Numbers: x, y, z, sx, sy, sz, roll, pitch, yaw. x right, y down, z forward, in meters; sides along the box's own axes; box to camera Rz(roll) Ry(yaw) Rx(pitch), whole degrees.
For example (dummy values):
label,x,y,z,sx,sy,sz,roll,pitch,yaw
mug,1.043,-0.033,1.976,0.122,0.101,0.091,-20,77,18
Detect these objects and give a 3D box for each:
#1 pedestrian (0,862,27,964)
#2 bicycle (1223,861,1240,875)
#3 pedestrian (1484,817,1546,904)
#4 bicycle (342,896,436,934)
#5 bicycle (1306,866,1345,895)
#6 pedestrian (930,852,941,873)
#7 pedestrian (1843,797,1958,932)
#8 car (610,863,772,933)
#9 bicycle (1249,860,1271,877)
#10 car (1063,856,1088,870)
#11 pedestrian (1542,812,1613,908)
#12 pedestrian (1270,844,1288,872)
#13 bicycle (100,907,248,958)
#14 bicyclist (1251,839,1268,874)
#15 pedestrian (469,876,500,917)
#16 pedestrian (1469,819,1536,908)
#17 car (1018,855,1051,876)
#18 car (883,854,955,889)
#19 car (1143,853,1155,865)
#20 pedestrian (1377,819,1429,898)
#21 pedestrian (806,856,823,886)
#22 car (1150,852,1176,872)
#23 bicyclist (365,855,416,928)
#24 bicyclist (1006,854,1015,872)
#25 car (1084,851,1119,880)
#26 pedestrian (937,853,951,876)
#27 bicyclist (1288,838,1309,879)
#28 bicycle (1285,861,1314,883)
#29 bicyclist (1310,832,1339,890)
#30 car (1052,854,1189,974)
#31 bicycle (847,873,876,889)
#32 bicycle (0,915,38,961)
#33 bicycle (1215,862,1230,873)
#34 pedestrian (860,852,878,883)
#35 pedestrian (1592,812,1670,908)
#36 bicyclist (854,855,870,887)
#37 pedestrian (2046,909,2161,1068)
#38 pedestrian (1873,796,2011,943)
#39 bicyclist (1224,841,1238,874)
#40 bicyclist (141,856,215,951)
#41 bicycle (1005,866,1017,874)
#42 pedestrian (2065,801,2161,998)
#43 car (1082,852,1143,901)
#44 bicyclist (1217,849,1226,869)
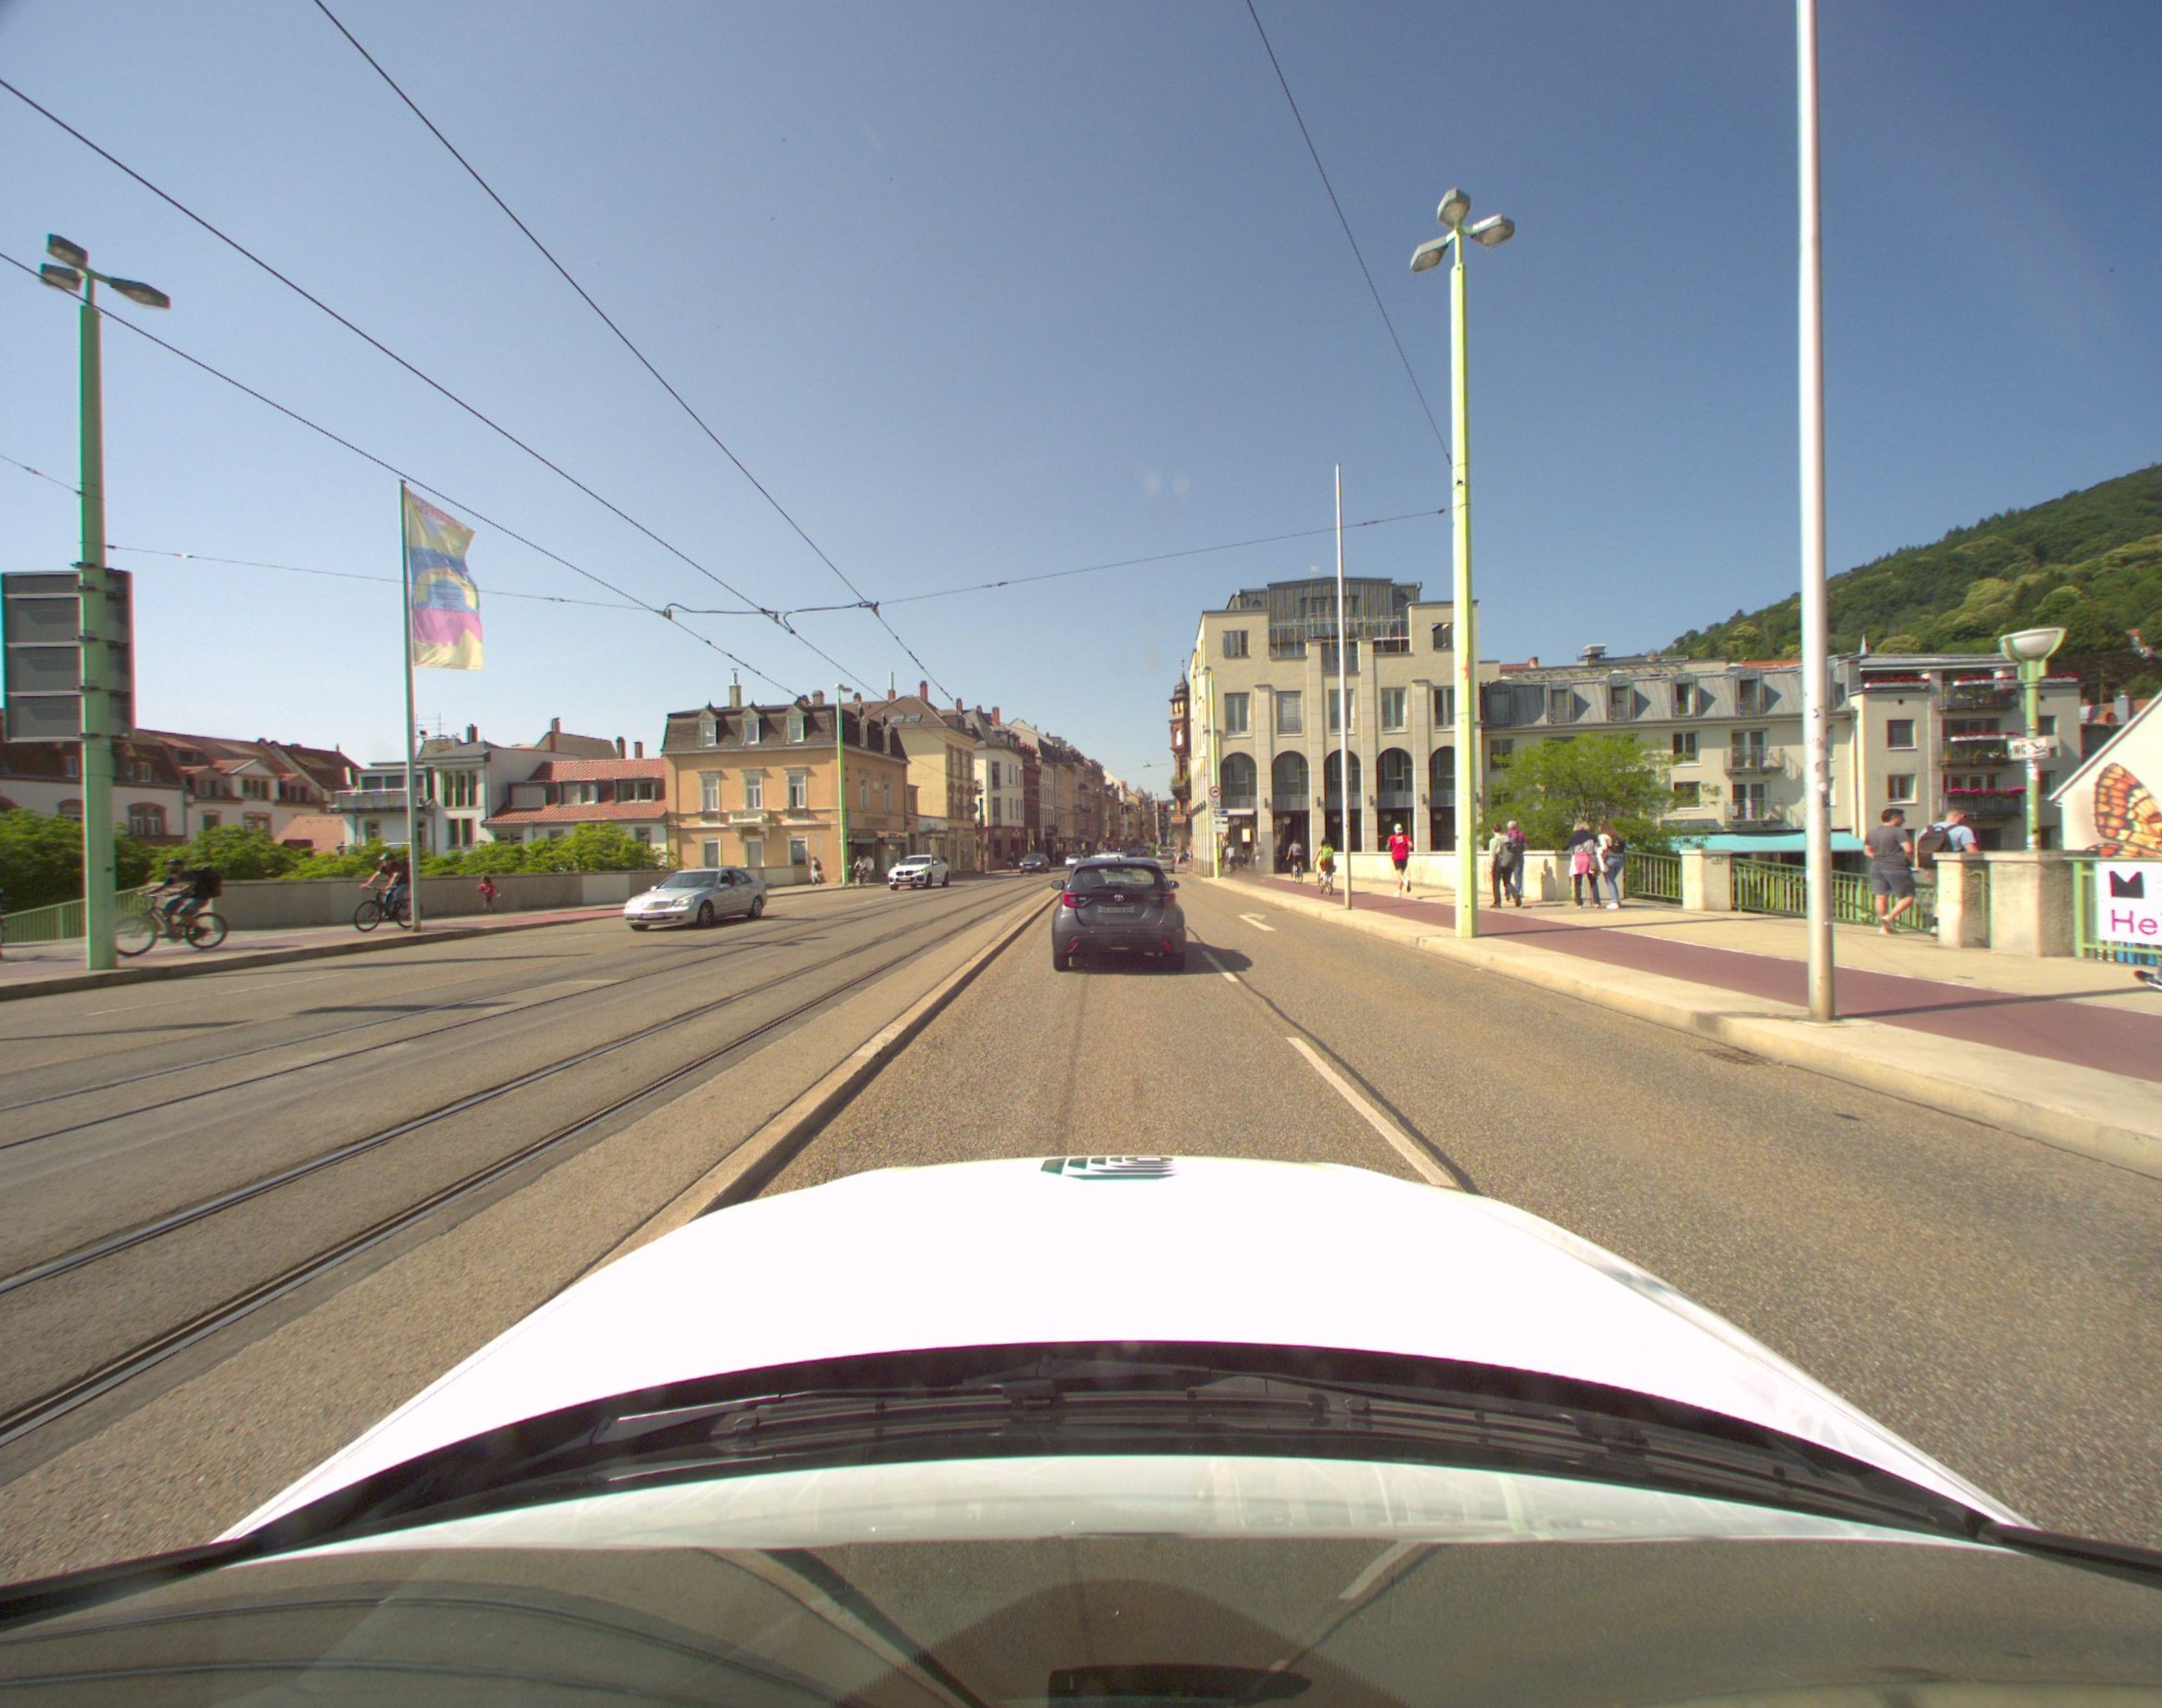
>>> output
label,x,y,z,sx,sy,sz,roll,pitch,yaw
pedestrian,-17.695,0.955,13.181,0.410,1.632,0.627,1,0,0
bicycle,8.530,0.787,46.294,0.592,0.765,1.866,-2,0,-1
pedestrian,9.439,0.137,17.744,0.736,1.802,1.016,-3,0,1
bicycle,-15.875,1.372,18.739,0.618,0.716,1.732,0,1,2
bicycle,7.105,0.756,23.758,0.591,0.765,1.867,-2,0,2
pedestrian,-11.656,0.656,65.160,0.646,1.602,0.566,3,2,2
pedestrian,11.079,0.130,11.020,1.017,1.718,0.735,-3,0,-24
car,-9.428,0.990,20.150,1.724,1.460,4.376,-1,0,2
bicycle,8.567,0.669,39.070,0.592,0.765,1.866,-2,0,-1
car,-0.578,0.934,86.194,1.982,1.432,4.010,0,0,8
pedestrian,9.702,0.114,15.961,0.735,1.777,1.017,-3,0,5
pedestrian,11.661,0.230,47.912,0.736,1.615,1.016,3,0,1
bicycle,-16.104,1.369,14.533,0.618,0.716,1.772,0,1,2
bicyclist,8.544,0.122,39.051,0.585,1.650,0.702,-2,0,-1
pedestrian,-17.540,1.241,23.937,0.409,1.146,0.546,3,0,14
pedestrian,8.580,0.182,16.635,0.752,1.718,1.073,-3,0,1
car,-3.662,0.869,64.913,1.783,1.545,3.931,-2,0,9
car,-7.767,0.804,39.522,1.983,1.586,4.662,-2,0,7
car,12.426,0.955,149.449,1.983,2.013,4.007,3,0,7
pedestrian,8.177,0.108,20.736,0.808,1.924,1.128,-2,0,1
pedestrian,-14.524,0.929,44.349,0.646,1.602,0.566,3,2,2
car,6.289,0.615,63.035,1.699,1.466,4.327,0,0,1
bicyclist,-15.884,0.848,18.734,0.625,1.650,0.622,0,1,2
bicyclist,-6.414,0.803,73.978,0.701,1.650,0.623,0,1,10
car,1.152,0.604,45.464,1.890,1.530,4.001,0,0,1
pedestrian,-10.288,0.803,61.021,0.757,1.654,0.713,3,0,11
bicyclist,8.378,0.174,31.401,0.585,1.559,0.702,-2,0,-1
bicycle,8.394,0.691,31.359,0.592,0.765,1.830,-2,0,-1
bicyclist,7.082,0.203,23.723,0.602,1.650,0.702,-2,0,2
car,0.539,0.749,11.974,1.713,1.473,3.659,0,0,1
bicycle,-11.601,1.424,43.120,0.616,0.716,2.051,0,1,11
bicycle,-18.222,1.414,13.011,0.618,0.716,1.934,0,1,0
bicycle,10.319,0.976,59.291,0.950,0.765,0.420,-3,0,24
pedestrian,-12.533,0.811,48.135,0.733,1.766,0.787,3,0,2
pedestrian,10.457,0.108,15.517,0.736,1.746,1.016,-3,0,1
bicyclist,-11.593,0.889,43.135,0.623,1.650,0.623,0,1,10
pedestrian,13.413,1.651,10.297,1.200,1.777,0.980,-3,0,-2
pedestrian,10.629,0.177,10.074,1.014,1.718,0.738,-2,0,-14
bicyclist,8.504,0.183,46.278,0.585,1.820,0.702,-2,0,-1
bicyclist,-16.144,0.873,14.572,0.625,1.650,0.622,0,1,2
bicycle,-6.377,1.453,74.241,0.616,0.716,2.051,0,1,11
pedestrian,8.779,0.335,6.429,0.826,1.530,0.933,-3,0,1
car,1.034,0.708,27.344,1.890,1.530,4.001,0,0,1
bicyclist,10.251,0.363,59.309,0.438,1.466,0.488,-3,0,23
